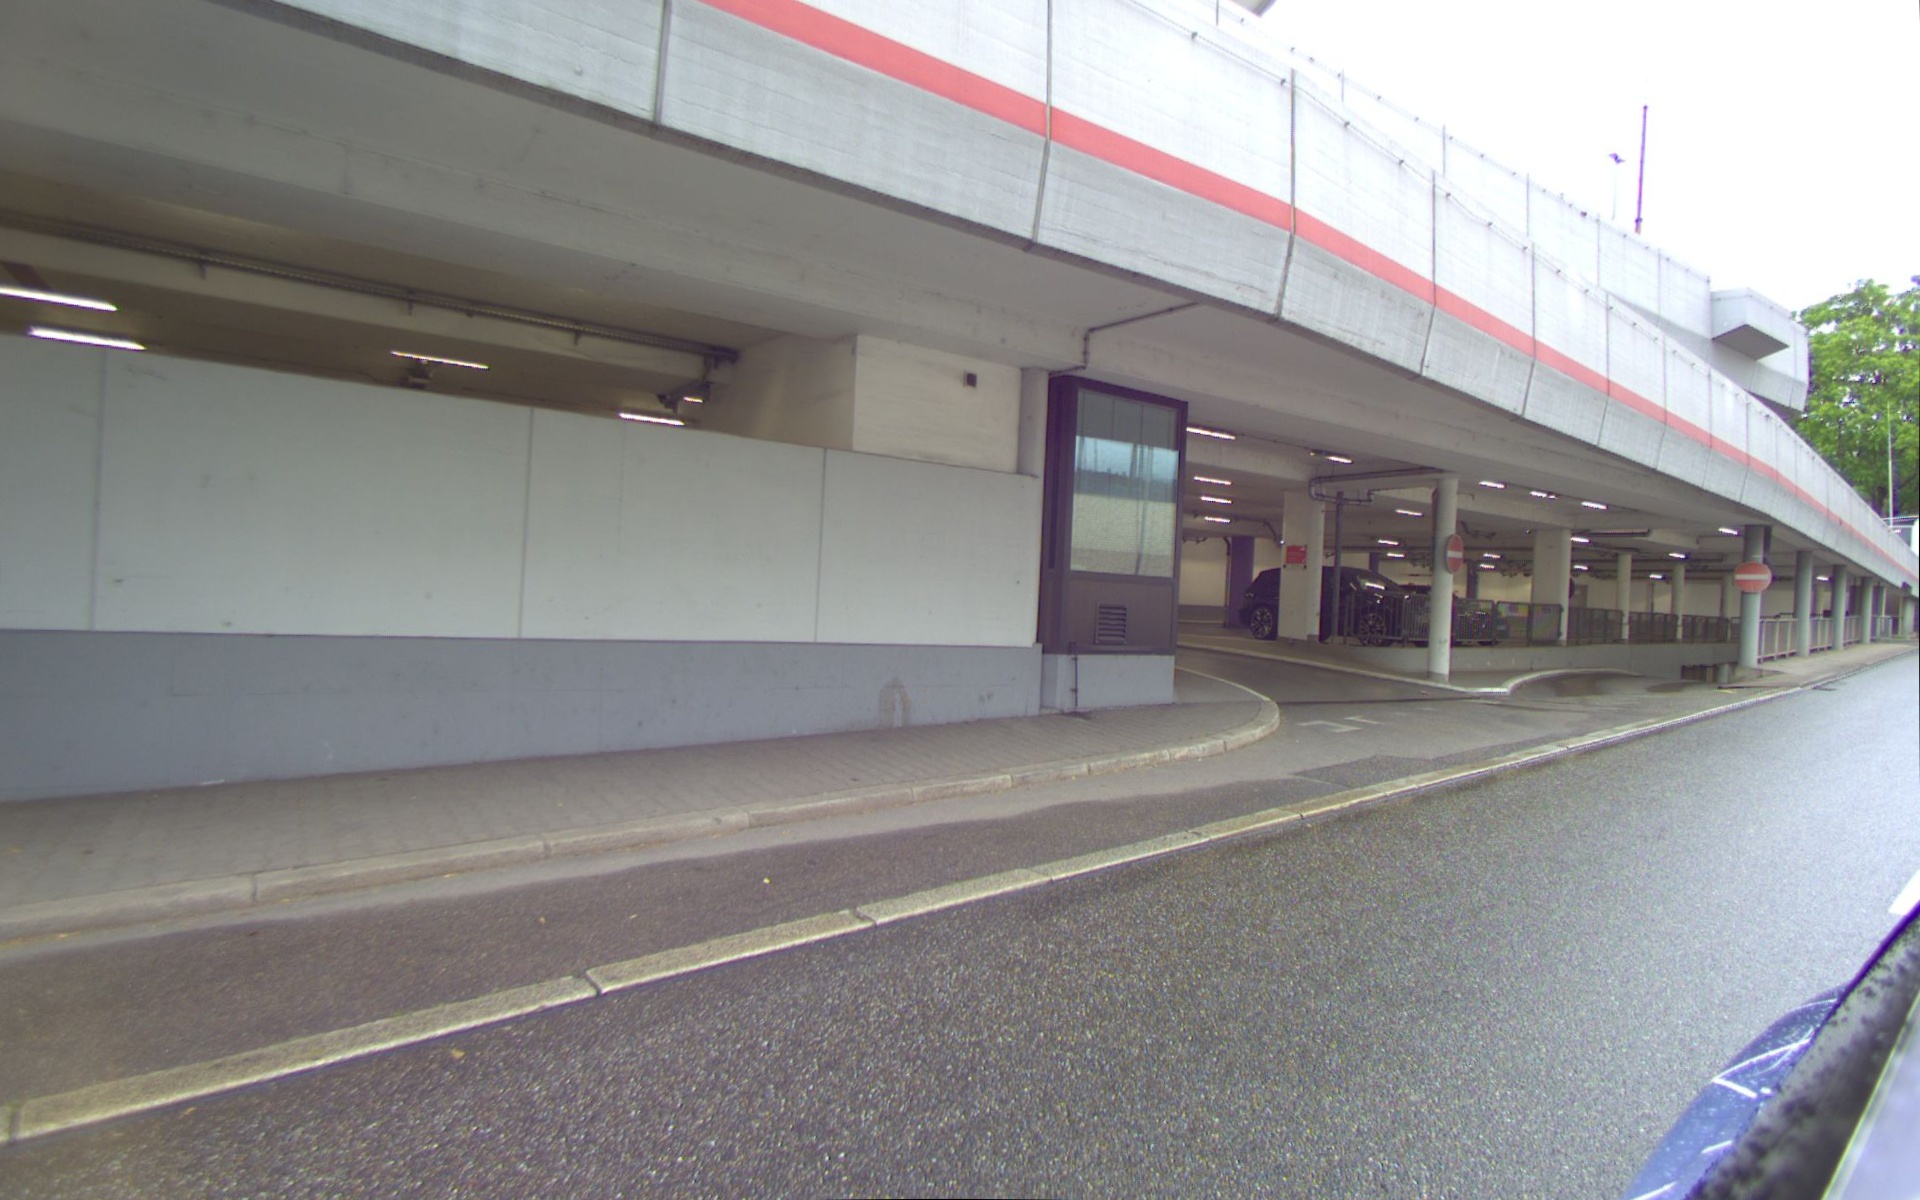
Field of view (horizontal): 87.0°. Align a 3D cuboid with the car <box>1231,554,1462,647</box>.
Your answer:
[{"bbox_3d":[8.151,-0.013,21.707,1.960,1.682,4.261,5,-2,-31],"label":"car"}]

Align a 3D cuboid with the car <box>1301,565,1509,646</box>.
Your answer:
[{"bbox_3d":[10.749,0.095,24.748,1.960,1.682,4.261,5,-2,-31],"label":"car"}]
